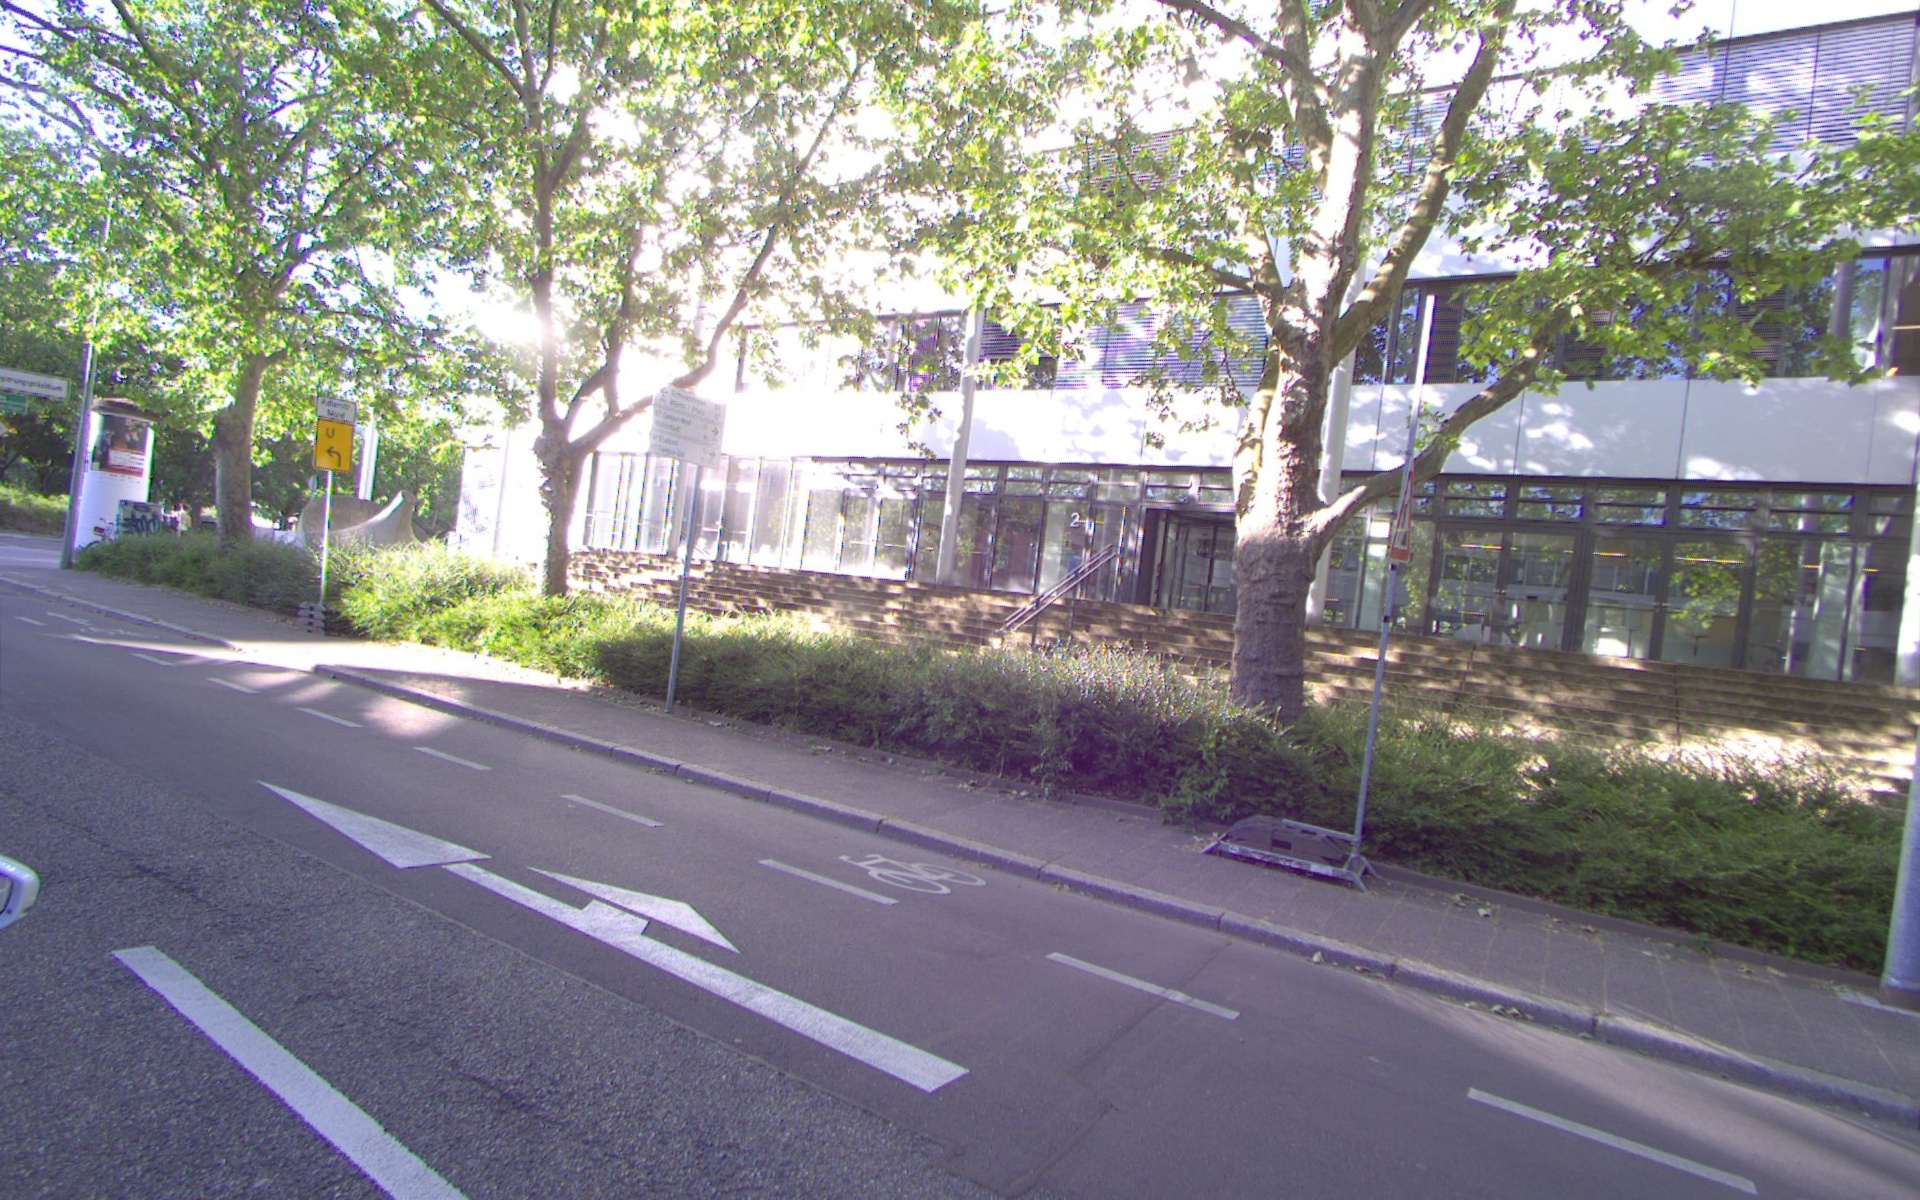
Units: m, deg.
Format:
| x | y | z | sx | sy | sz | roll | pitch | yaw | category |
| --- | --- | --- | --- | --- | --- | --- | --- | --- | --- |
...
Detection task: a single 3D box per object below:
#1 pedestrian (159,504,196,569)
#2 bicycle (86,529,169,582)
| x | y | z | sx | sy | sz | roll | pitch | yaw | category |
| --- | --- | --- | --- | --- | --- | --- | --- | --- | --- |
| -23.563 | -1.902 | 30.285 | 0.584 | 1.871 | 0.552 | 7 | 0 | 33 | pedestrian |
| -19.148 | -1.004 | 23.163 | 0.357 | 1.036 | 1.354 | 7 | -1 | 33 | bicycle |
